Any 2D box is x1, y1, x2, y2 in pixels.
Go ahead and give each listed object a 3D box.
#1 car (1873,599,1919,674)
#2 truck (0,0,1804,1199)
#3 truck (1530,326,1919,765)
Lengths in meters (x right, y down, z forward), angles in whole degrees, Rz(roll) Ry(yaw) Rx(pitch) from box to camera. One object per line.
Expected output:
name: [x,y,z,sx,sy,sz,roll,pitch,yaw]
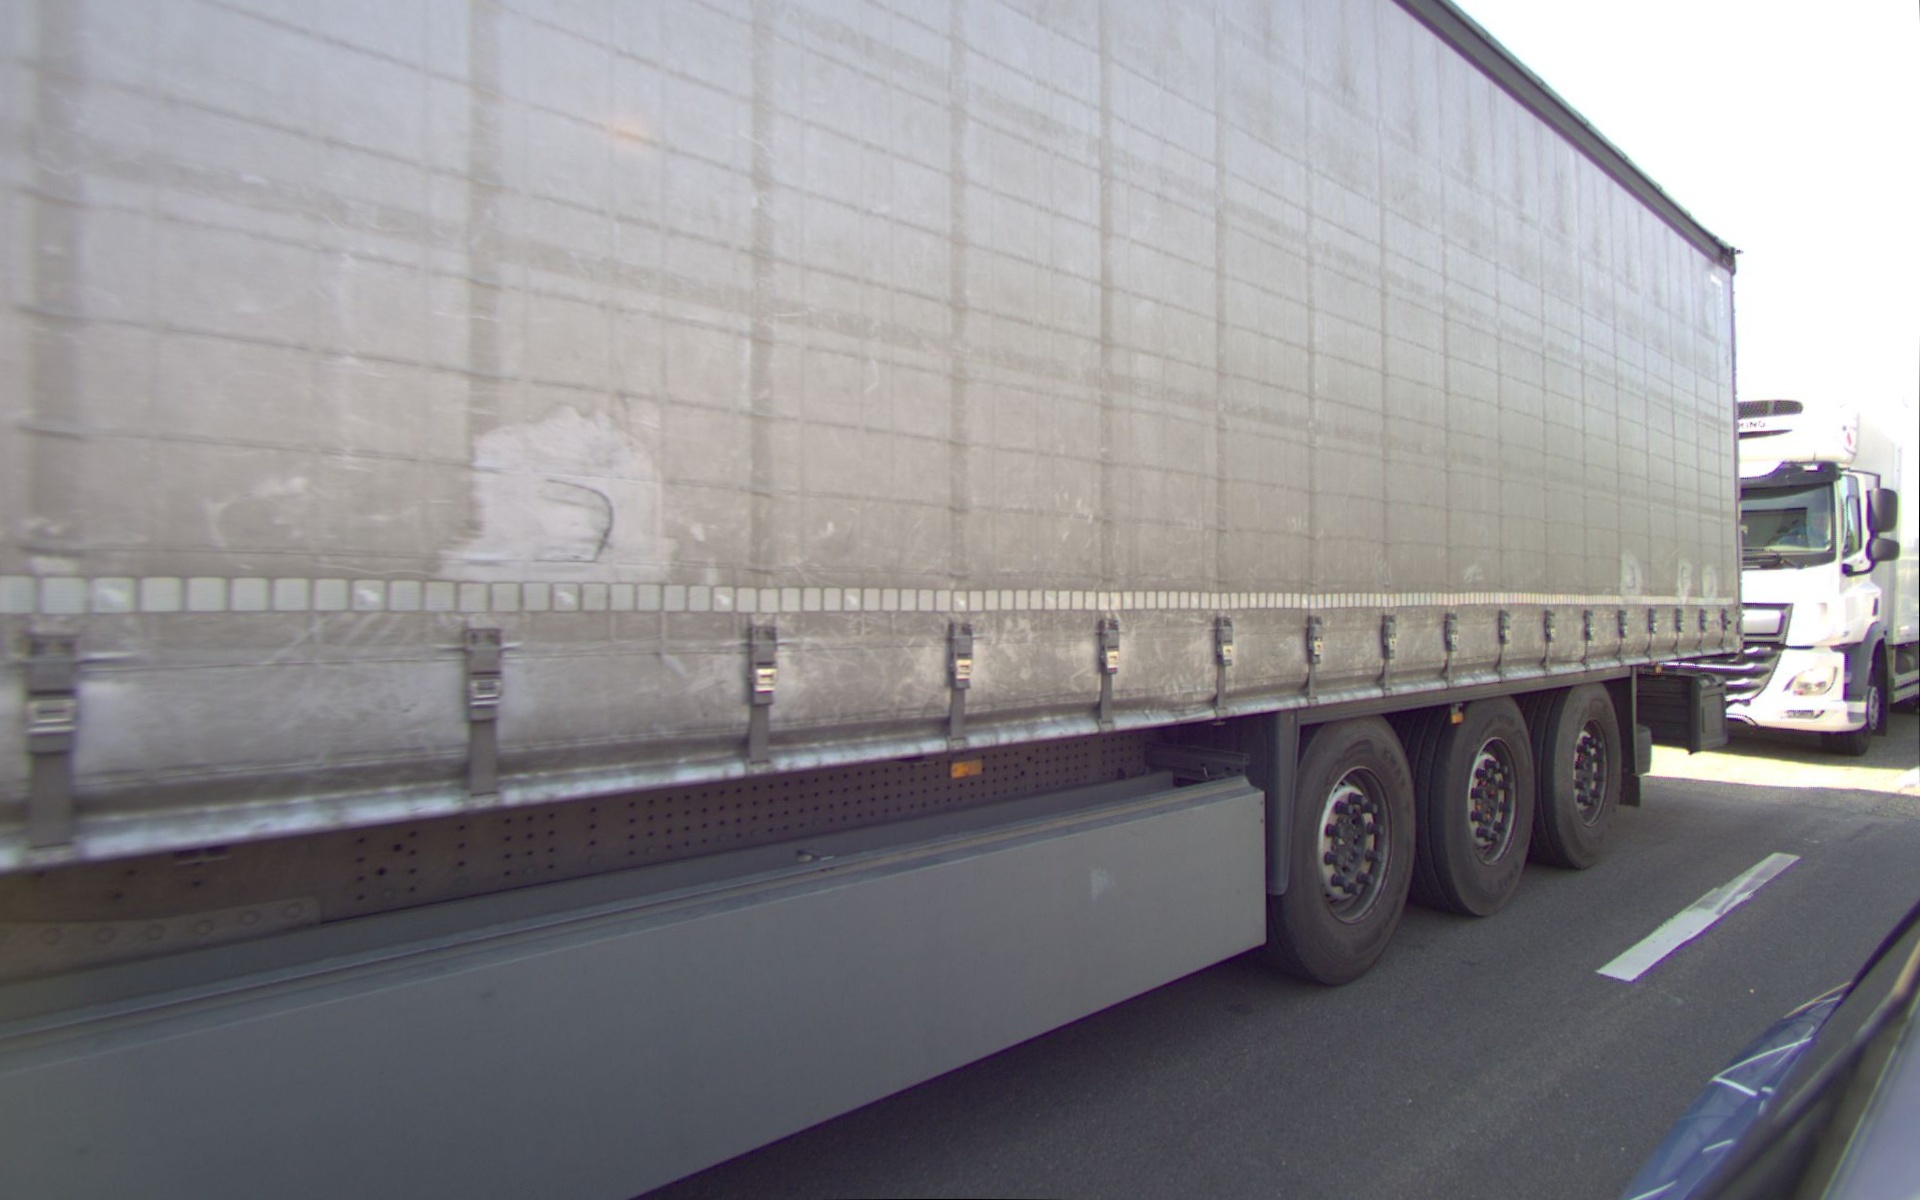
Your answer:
car: [20.498,0.695,20.975,4.150,1.447,1.738,0,-1,-40]
truck: [-1.000,-0.739,3.306,16.413,4.321,2.895,0,-1,-40]
truck: [11.454,-0.484,13.482,10.941,3.860,2.885,0,-1,-39]
